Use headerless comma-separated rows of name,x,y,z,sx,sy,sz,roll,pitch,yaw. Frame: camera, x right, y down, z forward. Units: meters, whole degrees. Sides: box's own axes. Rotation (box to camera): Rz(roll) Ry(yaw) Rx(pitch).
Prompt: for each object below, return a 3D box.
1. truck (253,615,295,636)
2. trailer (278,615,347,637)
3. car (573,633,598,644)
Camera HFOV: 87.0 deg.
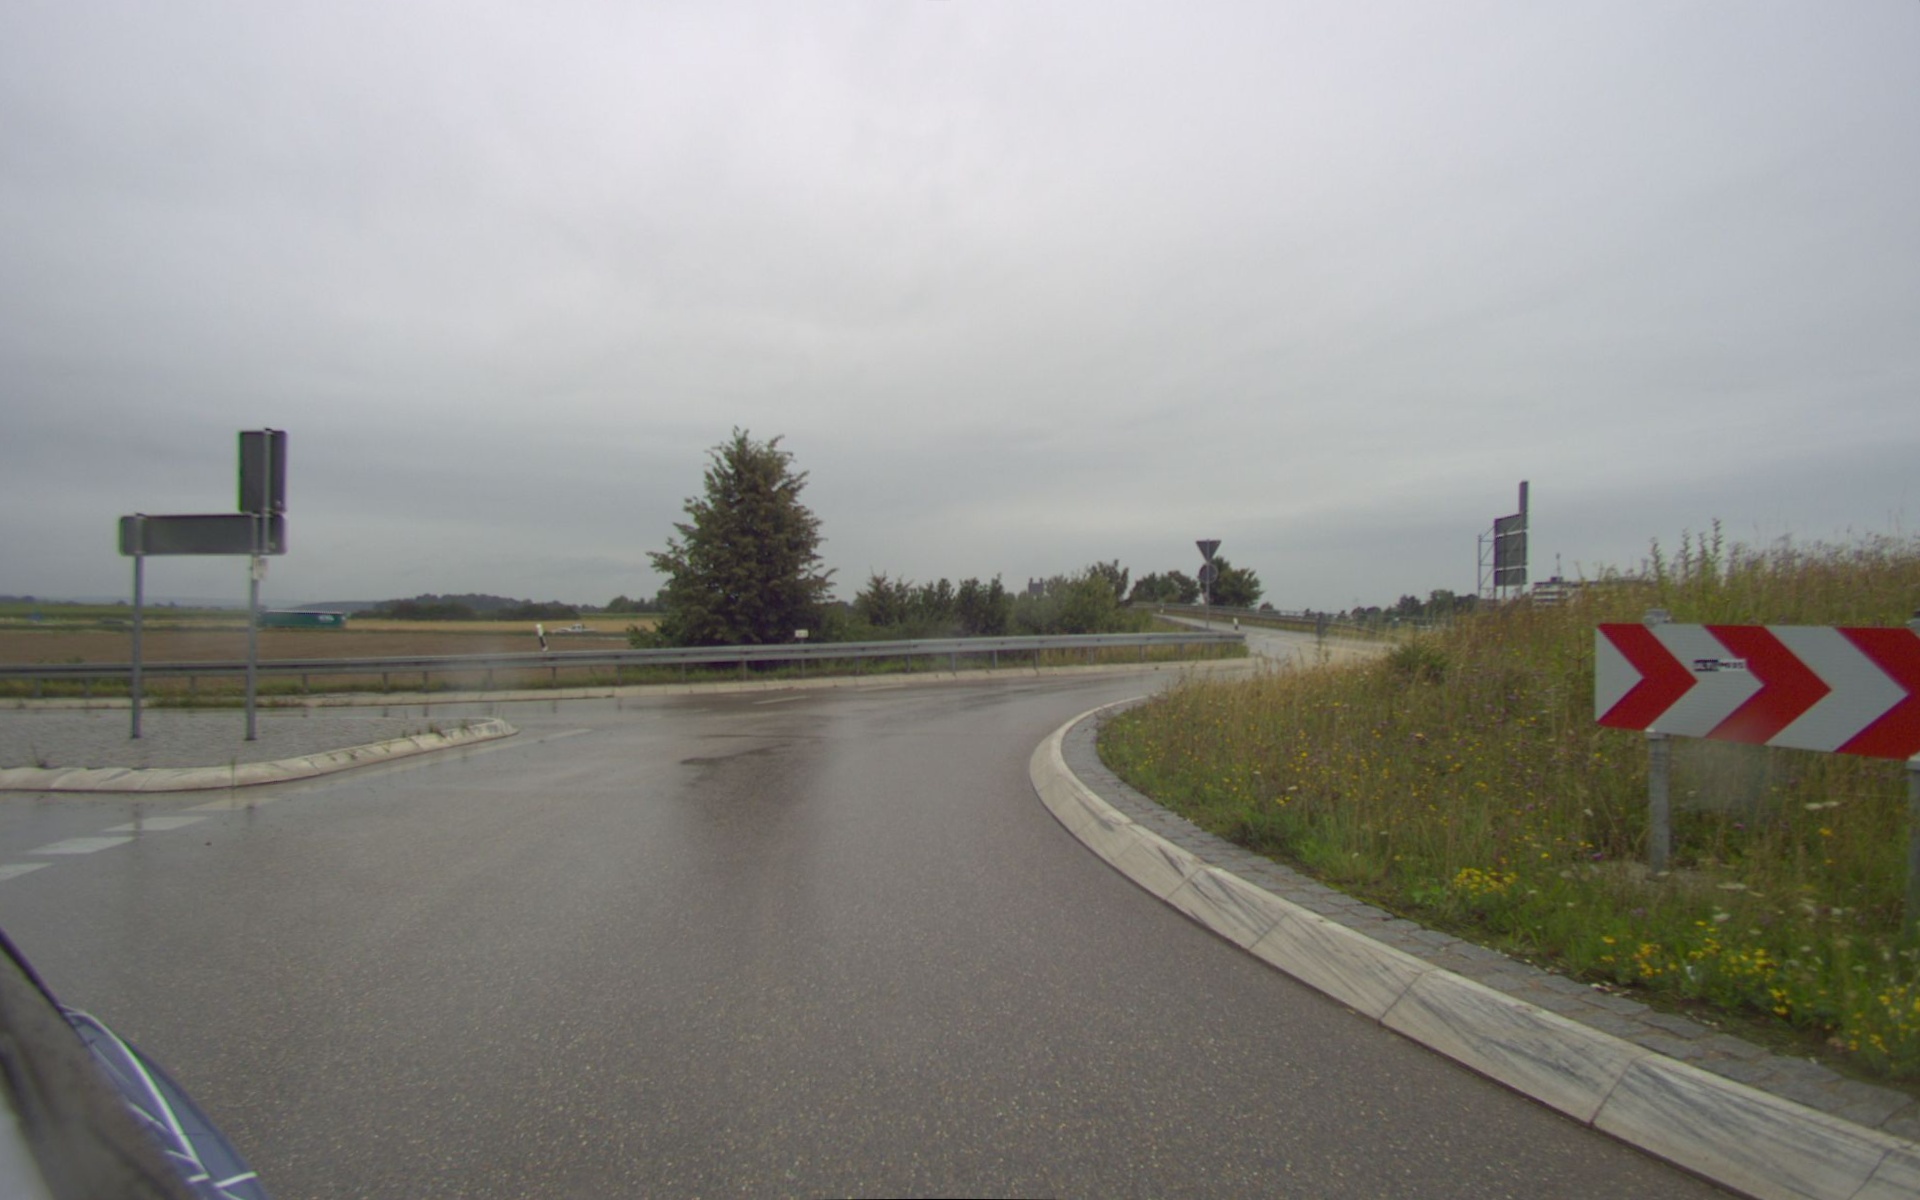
truck,-135.995,4.992,200.798,6.173,3.943,2.957,2,1,-11
trailer,-129.296,5.166,202.107,11.289,3.917,2.957,2,1,-11
car,-79.679,8.147,215.497,4.736,2.029,2.004,2,1,-9
